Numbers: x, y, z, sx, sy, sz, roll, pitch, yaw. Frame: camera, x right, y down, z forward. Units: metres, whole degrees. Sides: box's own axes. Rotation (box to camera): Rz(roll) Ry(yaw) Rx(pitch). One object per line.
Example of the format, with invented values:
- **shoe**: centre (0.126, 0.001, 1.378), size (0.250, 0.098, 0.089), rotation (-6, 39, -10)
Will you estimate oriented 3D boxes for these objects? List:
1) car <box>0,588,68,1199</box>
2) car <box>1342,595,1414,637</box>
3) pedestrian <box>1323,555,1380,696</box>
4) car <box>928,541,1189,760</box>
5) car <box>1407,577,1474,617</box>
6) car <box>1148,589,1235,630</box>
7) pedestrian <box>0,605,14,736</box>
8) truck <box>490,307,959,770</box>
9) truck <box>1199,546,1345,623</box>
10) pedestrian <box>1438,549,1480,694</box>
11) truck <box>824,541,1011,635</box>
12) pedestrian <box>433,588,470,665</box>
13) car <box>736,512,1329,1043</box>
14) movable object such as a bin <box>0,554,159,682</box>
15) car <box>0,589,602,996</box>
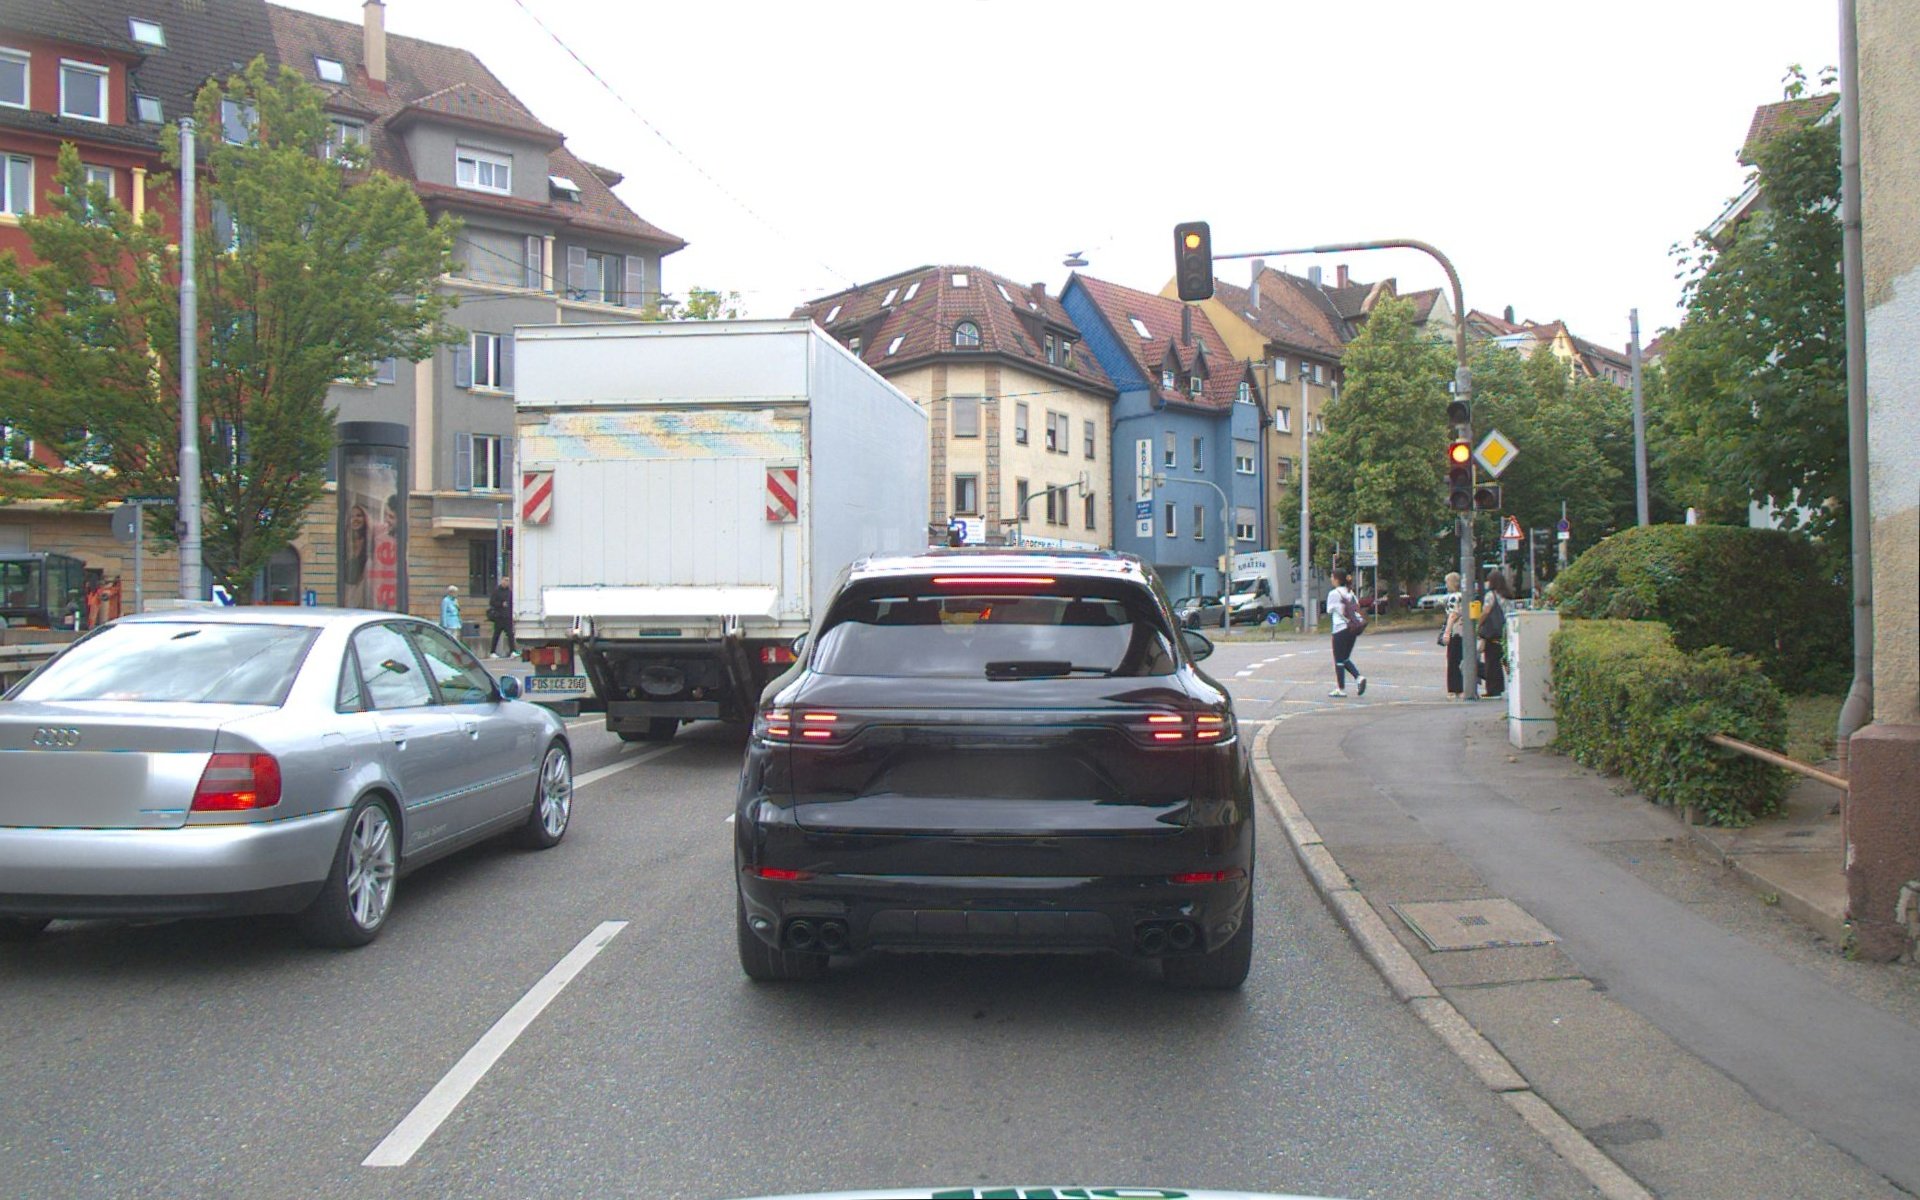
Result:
- **car**: centre (-2.571, 0.710, 0.970), size (1.712, 1.480, 4.445), rotation (0, 0, -1)
- **car**: centre (21.891, 0.850, 86.498), size (1.965, 2.049, 3.975), rotation (2, 0, 42)
- **pedestrian**: centre (5.235, 0.338, 22.137), size (0.577, 1.851, 0.529), rotation (2, -1, 0)
- **car**: centre (1.041, 0.396, 15.081), size (1.951, 1.713, 4.003), rotation (0, 0, 10)
- **car**: centre (26.639, -0.170, 91.618), size (1.965, 2.049, 3.975), rotation (2, 0, 42)
- **car**: centre (10.112, 0.394, 71.983), size (1.963, 1.713, 3.979), rotation (0, 0, 40)
- **pedestrian**: centre (-13.276, 0.947, 22.573), size (0.537, 1.760, 0.586), rotation (2, -1, -35)
- **truck**: centre (-1.906, -0.538, 17.178), size (2.710, 3.637, 8.071), rotation (0, 1, 8)
- **truck**: centre (14.984, -0.675, 78.789), size (2.830, 3.398, 8.744), rotation (2, 0, 41)
- **pedestrian**: centre (6.529, 0.281, 21.668), size (0.453, 1.869, 0.324), rotation (2, -1, 14)
- **truck**: centre (-1.481, -0.383, 54.082), size (2.484, 2.853, 6.621), rotation (2, -1, -40)
- **pedestrian**: centre (-10.691, 0.553, 34.802), size (0.577, 1.594, 0.486), rotation (2, -1, -1)
- **car**: centre (0.127, 0.546, 7.393), size (1.939, 1.713, 3.997), rotation (0, 1, -4)
- **movable object such as a bin**: centre (-13.978, 0.243, 25.735), size (1.870, 1.802, 3.986), rotation (2, 0, -14)
- **car**: centre (-3.118, 0.671, 8.020), size (1.661, 1.397, 4.179), rotation (0, 1, 3)
